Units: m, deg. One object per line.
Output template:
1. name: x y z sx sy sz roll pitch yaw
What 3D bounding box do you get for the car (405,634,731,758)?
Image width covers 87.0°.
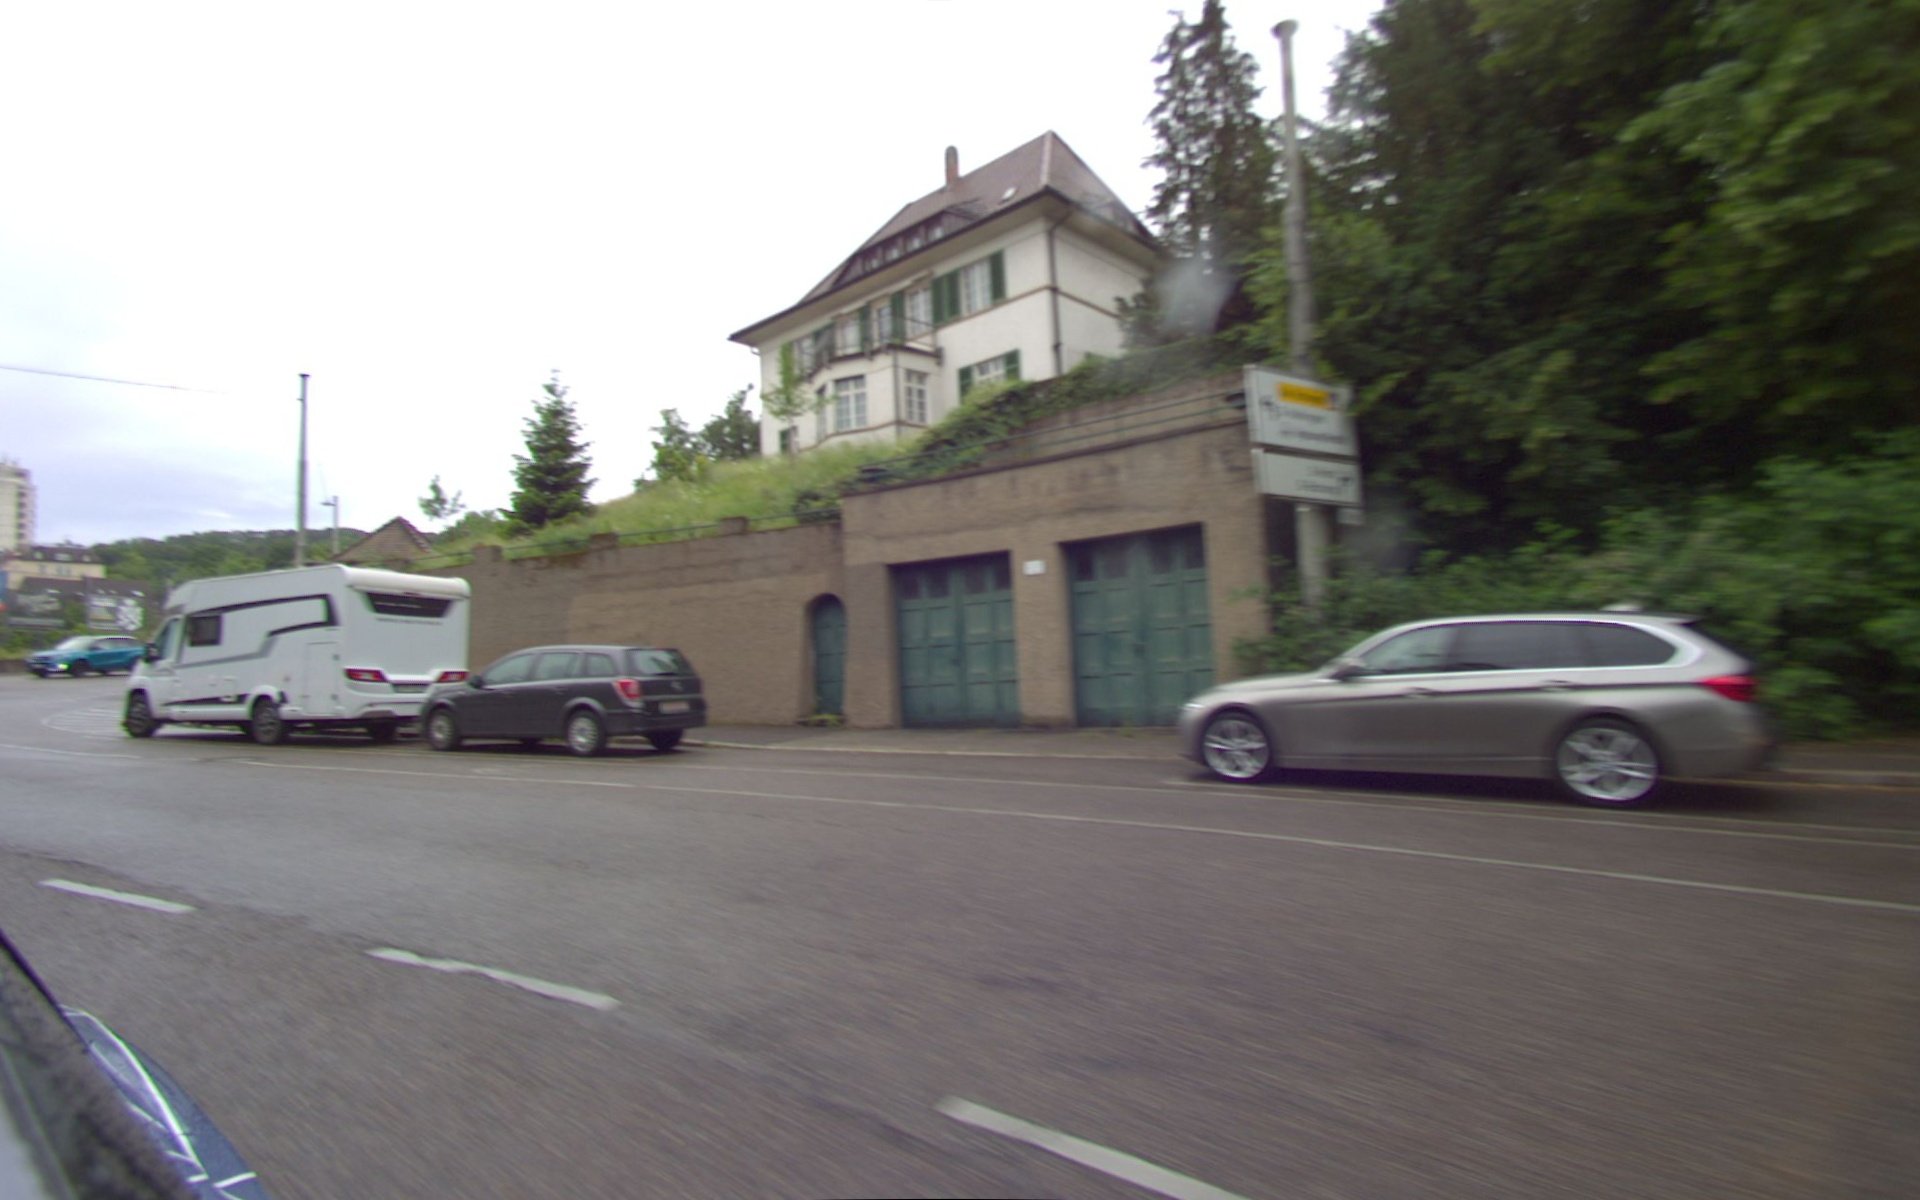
1. car: -5.515 1.333 14.204 4.346 1.510 1.777 -3 -5 25

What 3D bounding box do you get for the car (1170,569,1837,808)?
1. car: 4.225 0.695 8.468 4.522 1.510 1.683 -4 -3 38

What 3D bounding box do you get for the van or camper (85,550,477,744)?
1. van or camper: -11.574 0.874 17.128 7.010 2.810 2.144 -2 -5 26

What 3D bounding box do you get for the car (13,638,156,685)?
1. car: -34.543 2.484 40.088 1.783 1.622 4.026 -5 -6 11
